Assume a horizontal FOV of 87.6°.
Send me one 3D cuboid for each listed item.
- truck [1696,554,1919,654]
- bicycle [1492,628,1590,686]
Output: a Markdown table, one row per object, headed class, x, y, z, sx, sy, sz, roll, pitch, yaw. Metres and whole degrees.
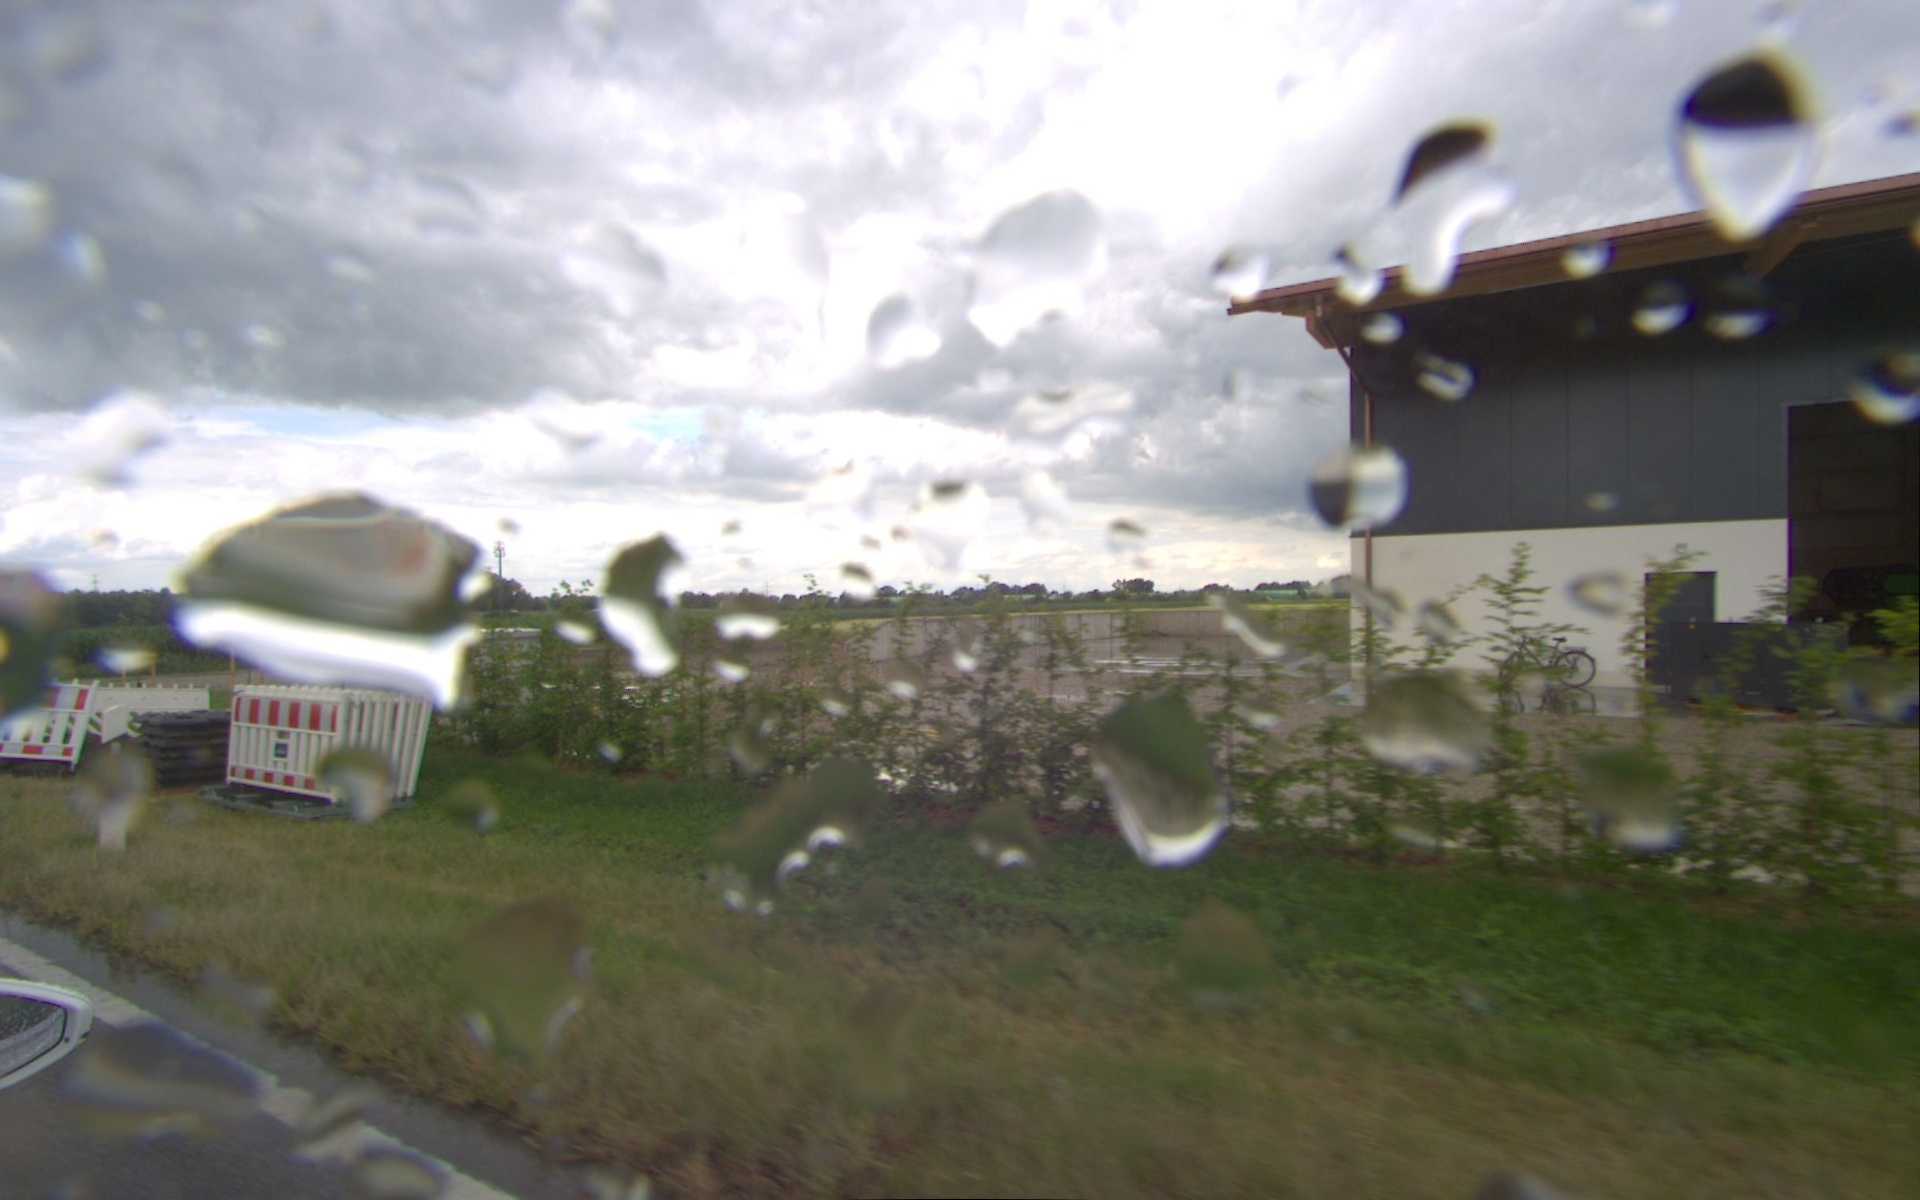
| class | x | y | z | sx | sy | sz | roll | pitch | yaw |
| --- | --- | --- | --- | --- | --- | --- | --- | --- | --- |
| truck | 24.707 | 0.124 | 28.342 | 6.069 | 2.642 | 2.112 | -1 | 0 | 33 |
| bicycle | 11.392 | 1.107 | 19.658 | 1.637 | 1.086 | 0.389 | -1 | 1 | 33 |
